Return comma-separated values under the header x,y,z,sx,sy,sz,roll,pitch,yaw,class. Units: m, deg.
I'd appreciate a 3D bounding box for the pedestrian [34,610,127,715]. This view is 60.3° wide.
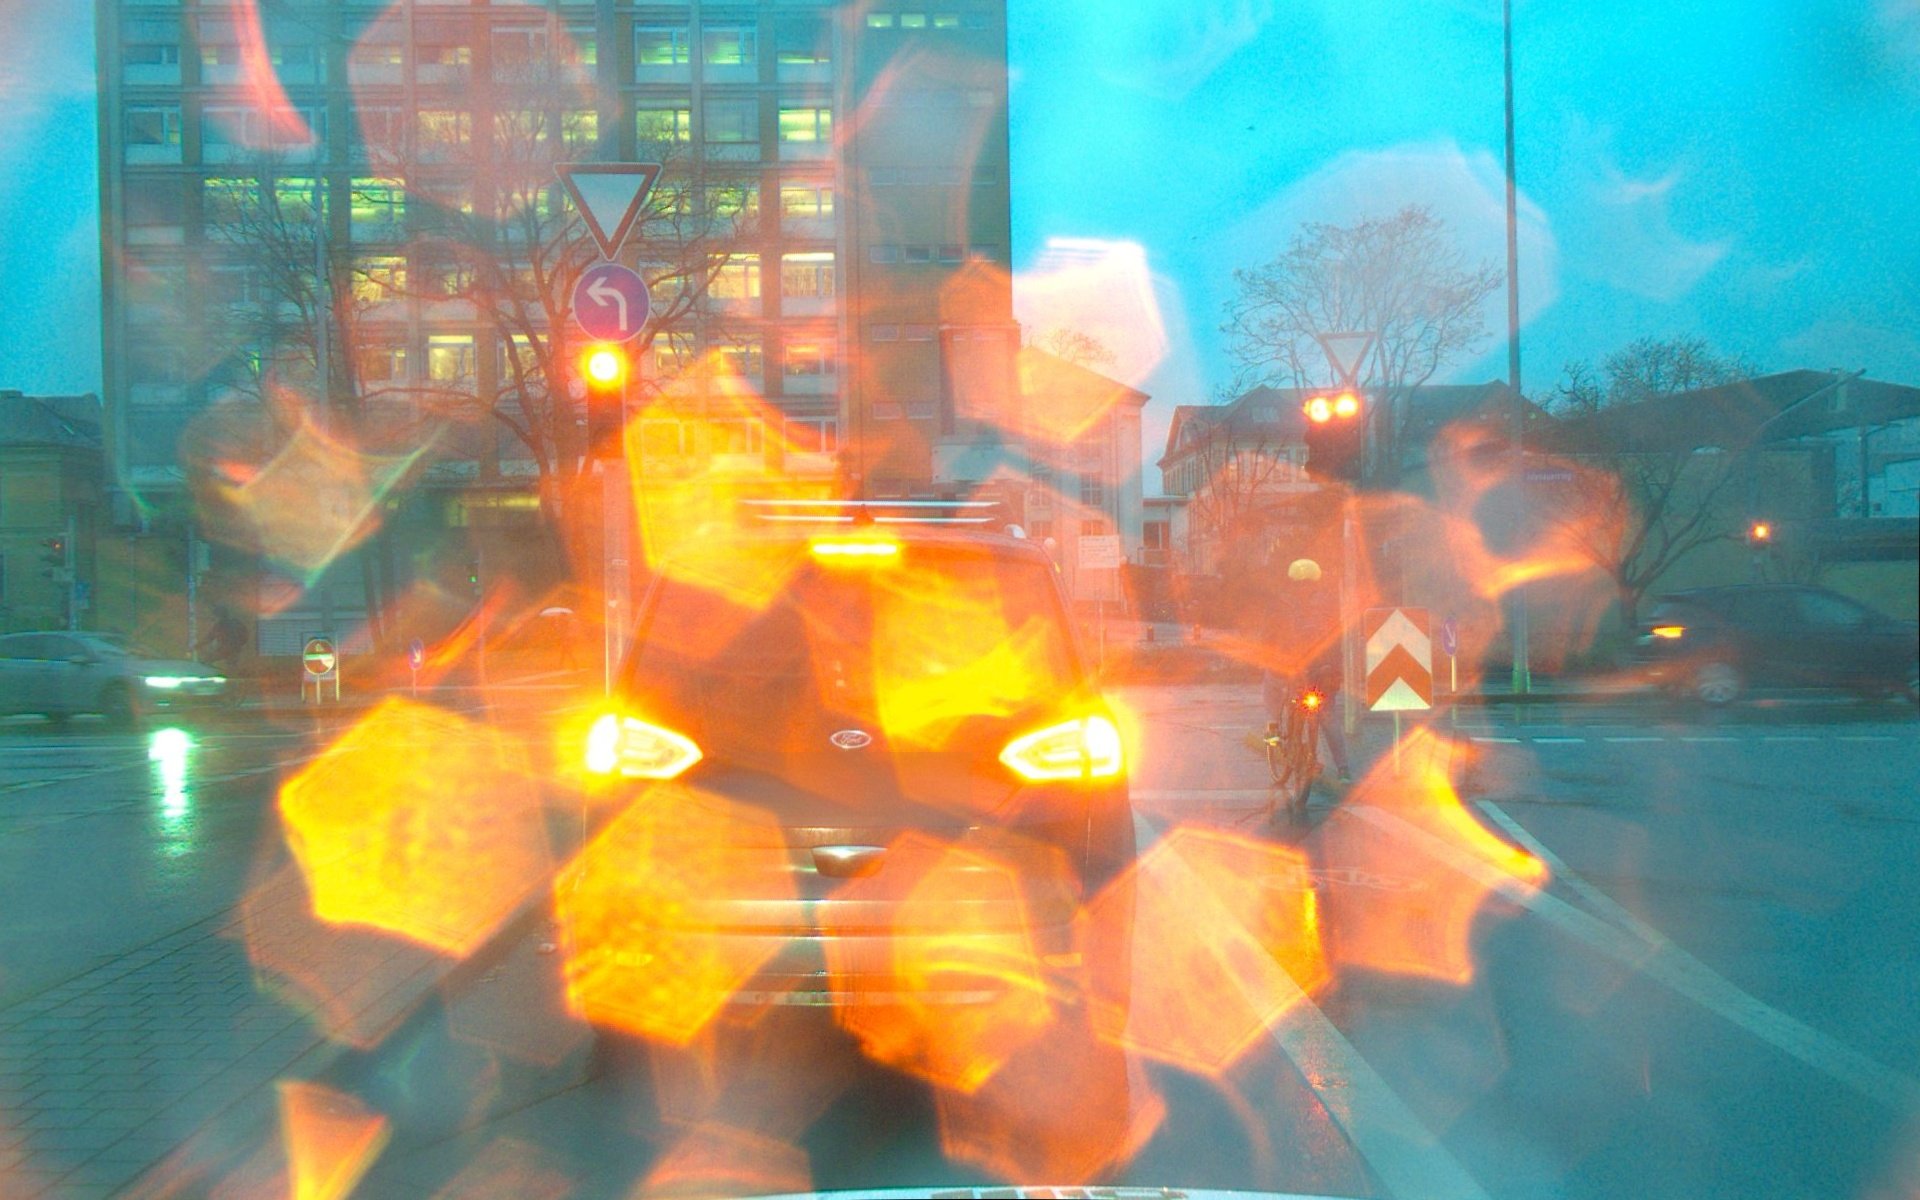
x,y,z,sx,sy,sz,roll,pitch,yaw,class
-16.786,1.175,31.590,0.983,1.874,1.136,-1,3,32,pedestrian

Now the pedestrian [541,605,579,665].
x,y,z,sx,sy,sz,roll,pitch,yaw,class
-11.438,0.993,47.270,0.744,1.656,0.722,-2,0,19,pedestrian

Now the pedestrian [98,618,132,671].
x,y,z,sx,sy,sz,roll,pitch,yaw,class
-26.961,1.421,52.781,0.743,1.656,0.558,-2,0,14,pedestrian

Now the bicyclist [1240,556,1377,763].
x,y,z,sx,sy,sz,roll,pitch,yaw,class
2.607,0.430,12.488,0.767,1.478,1.133,1,0,-1,bicyclist

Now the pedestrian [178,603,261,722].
x,y,z,sx,sy,sz,roll,pitch,yaw,class
-13.001,1.082,29.051,0.908,2.013,0.960,-2,0,5,pedestrian

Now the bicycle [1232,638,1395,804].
x,y,z,sx,sy,sz,roll,pitch,yaw,class
2.610,0.860,12.431,0.767,1.094,1.956,1,0,-1,bicycle

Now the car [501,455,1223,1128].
x,y,z,sx,sy,sz,roll,pitch,yaw,class
-0.292,0.538,6.547,1.953,1.821,3.999,1,0,-1,car

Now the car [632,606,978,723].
x,y,z,sx,sy,sz,roll,pitch,yaw,class
-2.166,0.902,23.603,4.556,1.503,1.813,-2,-1,11,car

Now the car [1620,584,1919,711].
x,y,z,sx,sy,sz,roll,pitch,yaw,class
10.831,0.591,21.424,3.871,1.503,1.812,-2,-1,7,car

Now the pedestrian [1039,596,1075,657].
x,y,z,sx,sy,sz,roll,pitch,yaw,class
2.586,0.696,44.009,0.905,1.559,1.043,-2,0,4,pedestrian

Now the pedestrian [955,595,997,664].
x,y,z,sx,sy,sz,roll,pitch,yaw,class
0.444,0.803,45.099,0.975,1.831,0.920,-2,0,8,pedestrian

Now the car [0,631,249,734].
x,y,z,sx,sy,sz,roll,pitch,yaw,class
-13.904,1.308,26.315,4.557,1.503,1.813,-2,-1,13,car
